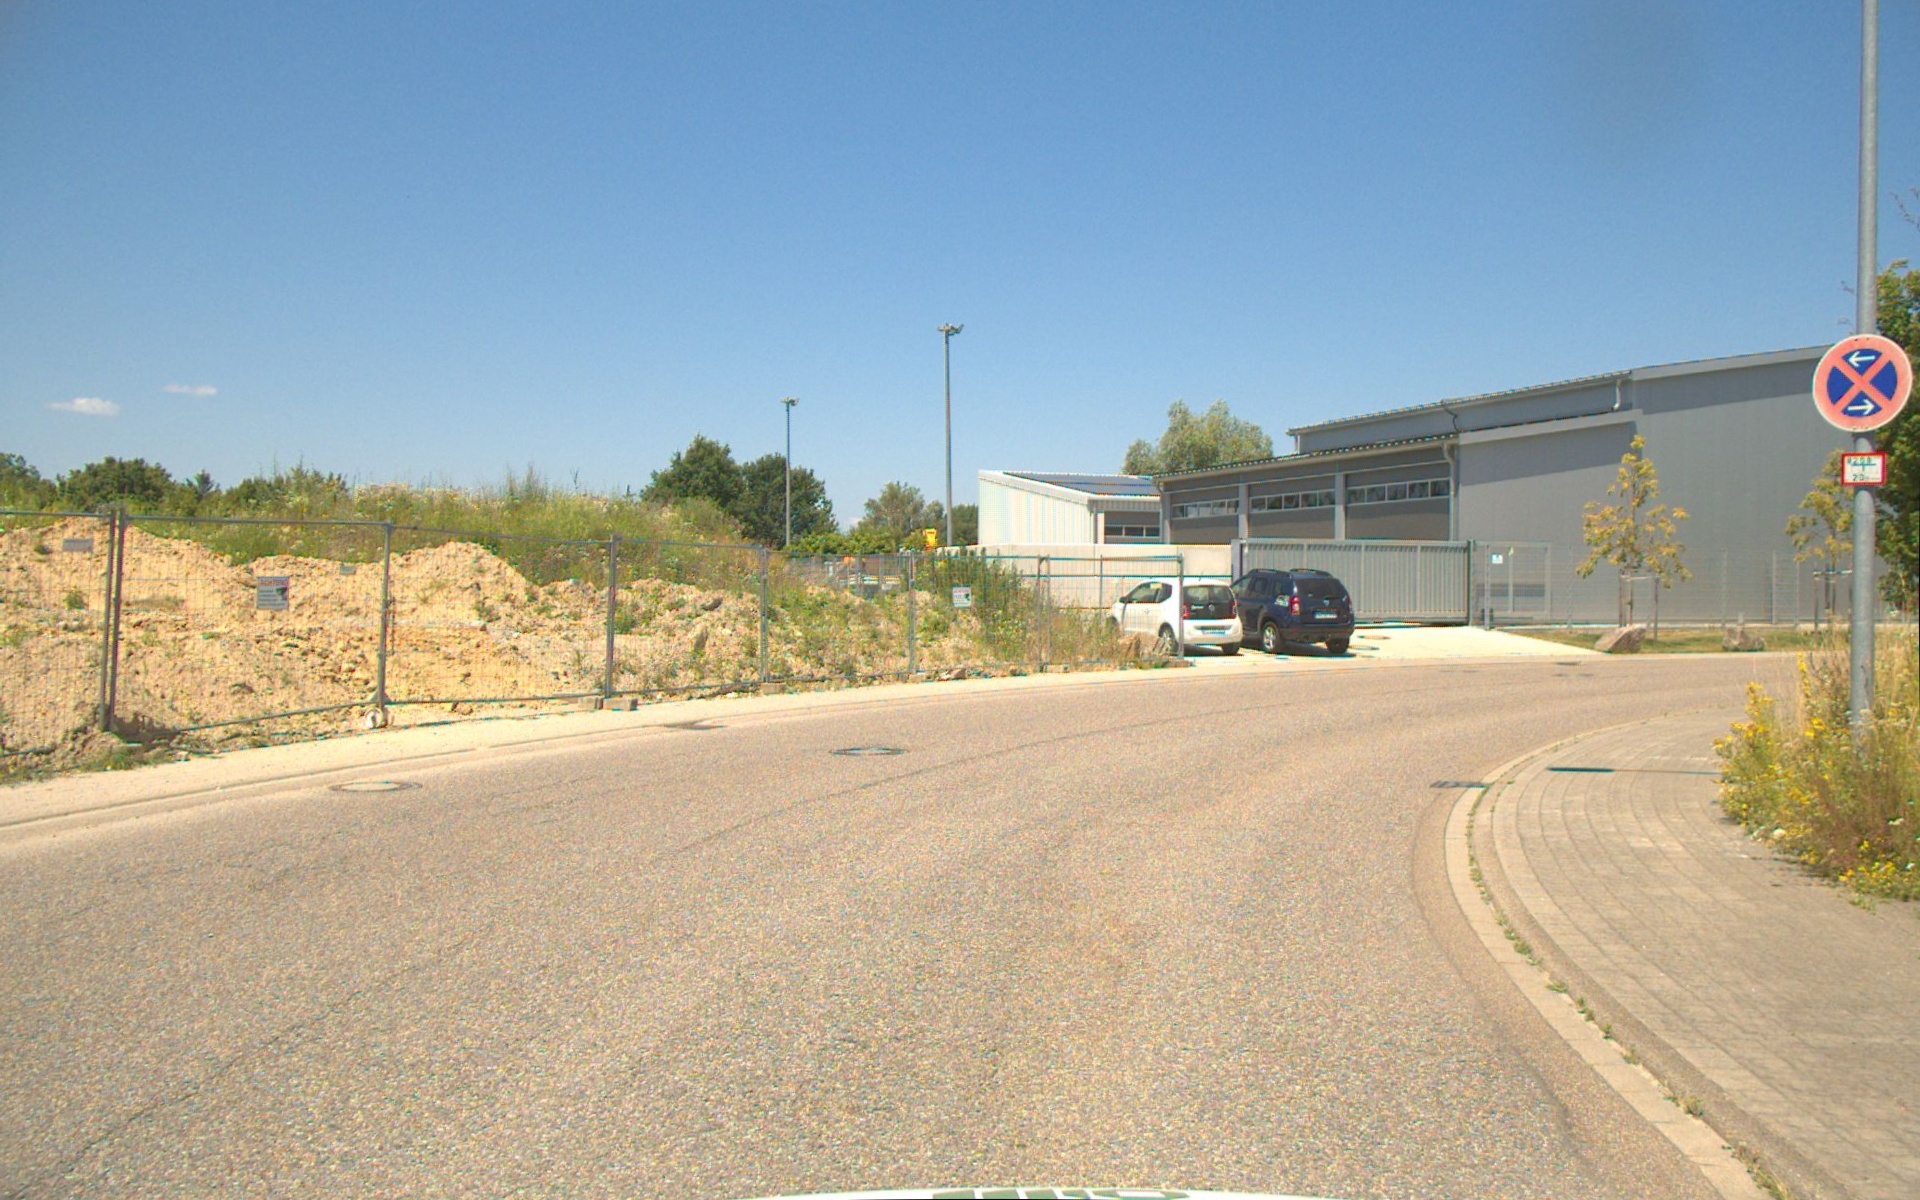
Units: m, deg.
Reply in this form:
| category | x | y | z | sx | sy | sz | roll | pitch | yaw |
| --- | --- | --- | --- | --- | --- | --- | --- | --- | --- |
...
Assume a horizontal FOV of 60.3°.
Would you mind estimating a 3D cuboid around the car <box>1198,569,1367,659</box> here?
| category | x | y | z | sx | sy | sz | roll | pitch | yaw |
| --- | --- | --- | --- | --- | --- | --- | --- | --- | --- |
| car | 6.723 | 0.237 | 34.868 | 1.769 | 1.636 | 3.679 | -1 | 3 | -22 |

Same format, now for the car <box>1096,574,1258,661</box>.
| category | x | y | z | sx | sy | sz | roll | pitch | yaw |
| --- | --- | --- | --- | --- | --- | --- | --- | --- | --- |
| car | 4.423 | 0.309 | 34.237 | 1.758 | 1.524 | 3.679 | -1 | 3 | -22 |

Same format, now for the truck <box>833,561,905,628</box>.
| category | x | y | z | sx | sy | sz | roll | pitch | yaw |
| --- | --- | --- | --- | --- | --- | --- | --- | --- | --- |
| truck | -4.278 | -0.246 | 77.009 | 1.965 | 3.037 | 4.616 | -1 | 0 | -21 |
